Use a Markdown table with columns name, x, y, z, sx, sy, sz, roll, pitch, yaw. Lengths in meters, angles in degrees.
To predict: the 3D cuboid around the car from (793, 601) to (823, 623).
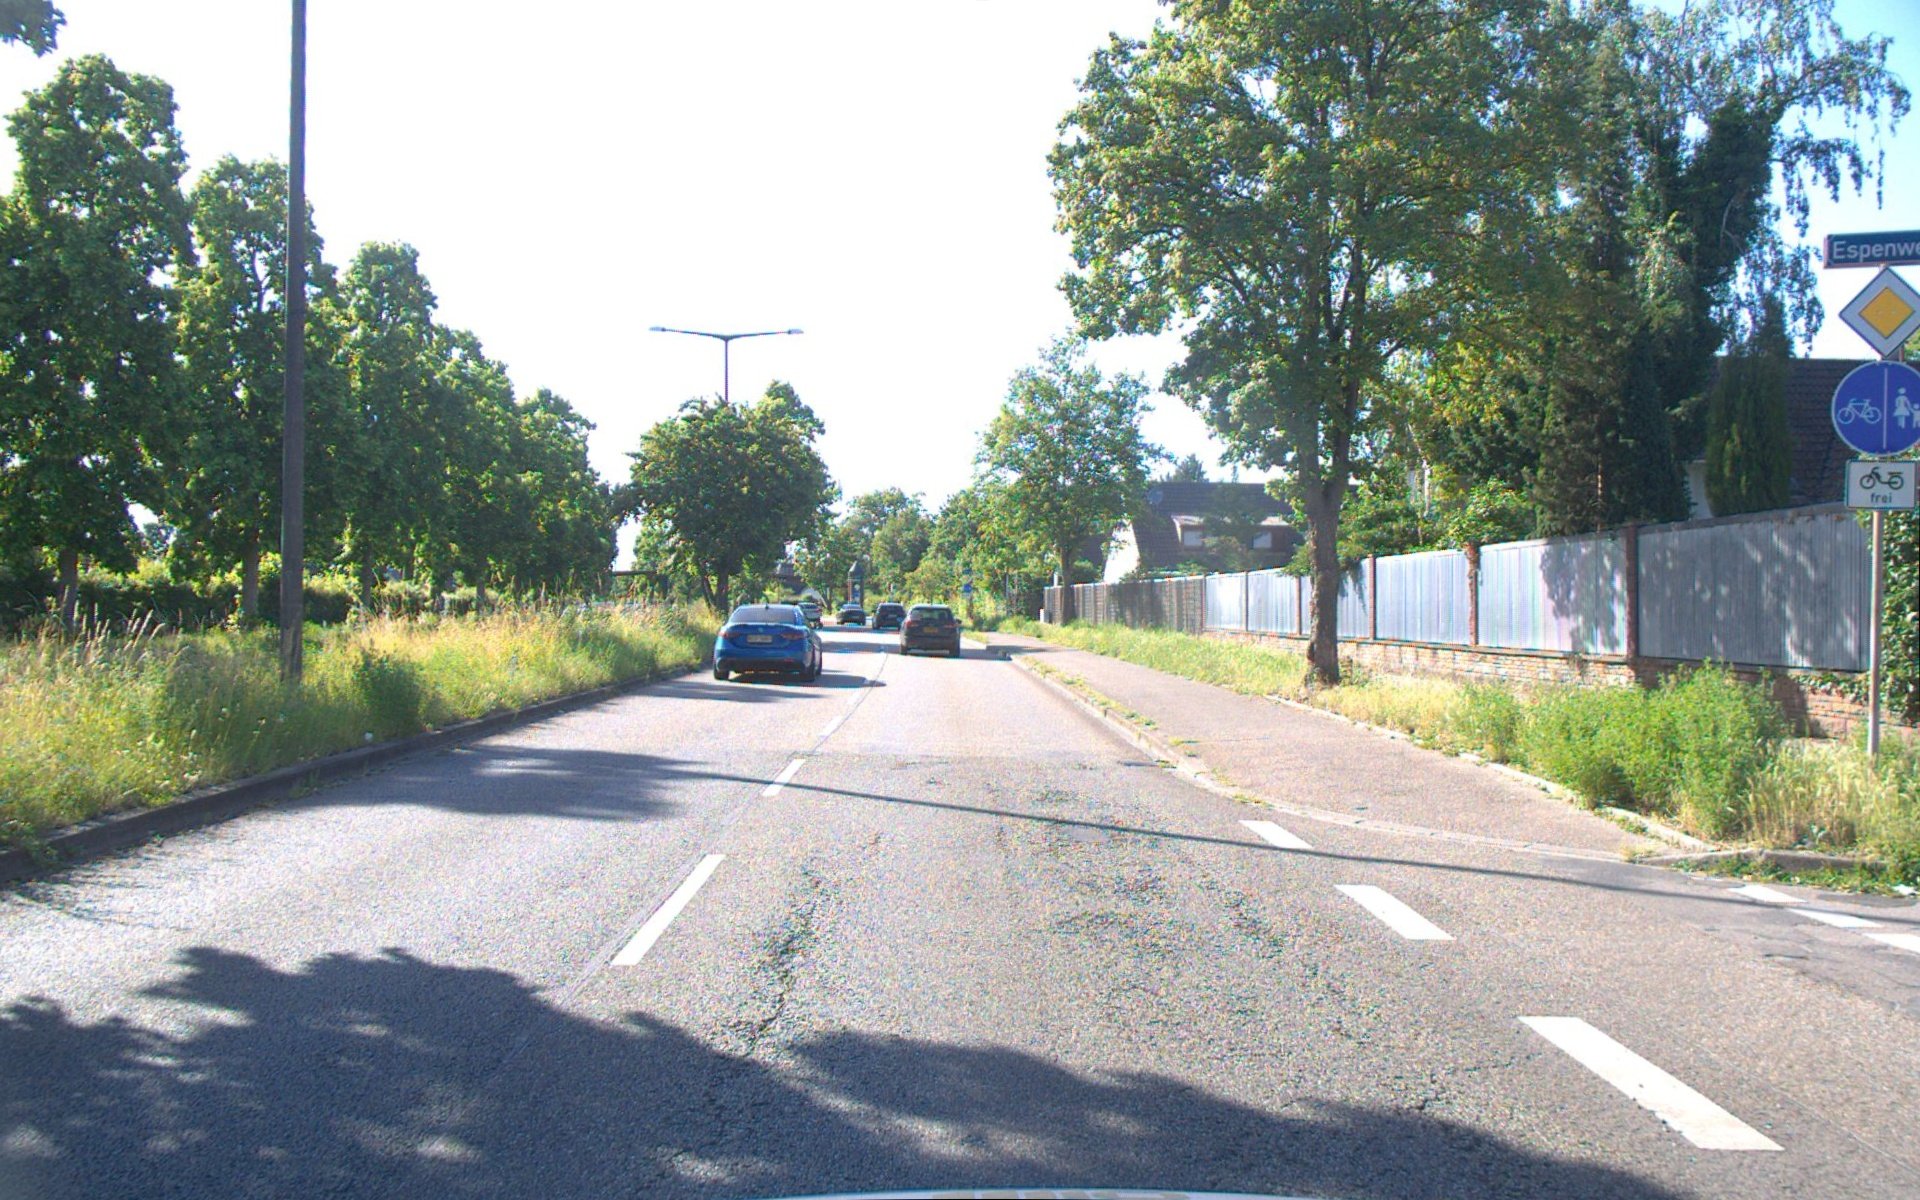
| name | x | y | z | sx | sy | sz | roll | pitch | yaw |
| --- | --- | --- | --- | --- | --- | --- | --- | --- | --- |
| car | -10.677 | 0.822 | 116.167 | 1.877 | 1.539 | 4.065 | 1 | 0 | -3 |

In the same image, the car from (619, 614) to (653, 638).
| name | x | y | z | sx | sy | sz | roll | pitch | yaw |
| --- | --- | --- | --- | --- | --- | --- | --- | --- | --- |
| car | -21.716 | 1.754 | 111.005 | 1.636 | 1.493 | 4.177 | -2 | 0 | -3 |

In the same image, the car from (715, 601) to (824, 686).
| name | x | y | z | sx | sy | sz | roll | pitch | yaw |
| --- | --- | --- | --- | --- | --- | --- | --- | --- | --- |
| car | -3.604 | 0.823 | 31.969 | 1.802 | 1.500 | 4.181 | 1 | -1 | -3 |

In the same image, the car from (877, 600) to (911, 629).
| name | x | y | z | sx | sy | sz | roll | pitch | yaw |
| --- | --- | --- | --- | --- | --- | --- | --- | --- | --- |
| car | -3.848 | 0.837 | 95.791 | 1.877 | 1.607 | 4.179 | 1 | -1 | -4 |

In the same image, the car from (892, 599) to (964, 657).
| name | x | y | z | sx | sy | sz | roll | pitch | yaw |
| --- | --- | --- | --- | --- | --- | --- | --- | --- | --- |
| car | -0.990 | 0.790 | 48.904 | 1.878 | 1.607 | 4.178 | 1 | 0 | -5 |

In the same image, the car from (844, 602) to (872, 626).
| name | x | y | z | sx | sy | sz | roll | pitch | yaw |
| --- | --- | --- | --- | --- | --- | --- | --- | --- | --- |
| car | -7.420 | 1.008 | 120.153 | 1.878 | 1.707 | 4.007 | 1 | -1 | -6 |
